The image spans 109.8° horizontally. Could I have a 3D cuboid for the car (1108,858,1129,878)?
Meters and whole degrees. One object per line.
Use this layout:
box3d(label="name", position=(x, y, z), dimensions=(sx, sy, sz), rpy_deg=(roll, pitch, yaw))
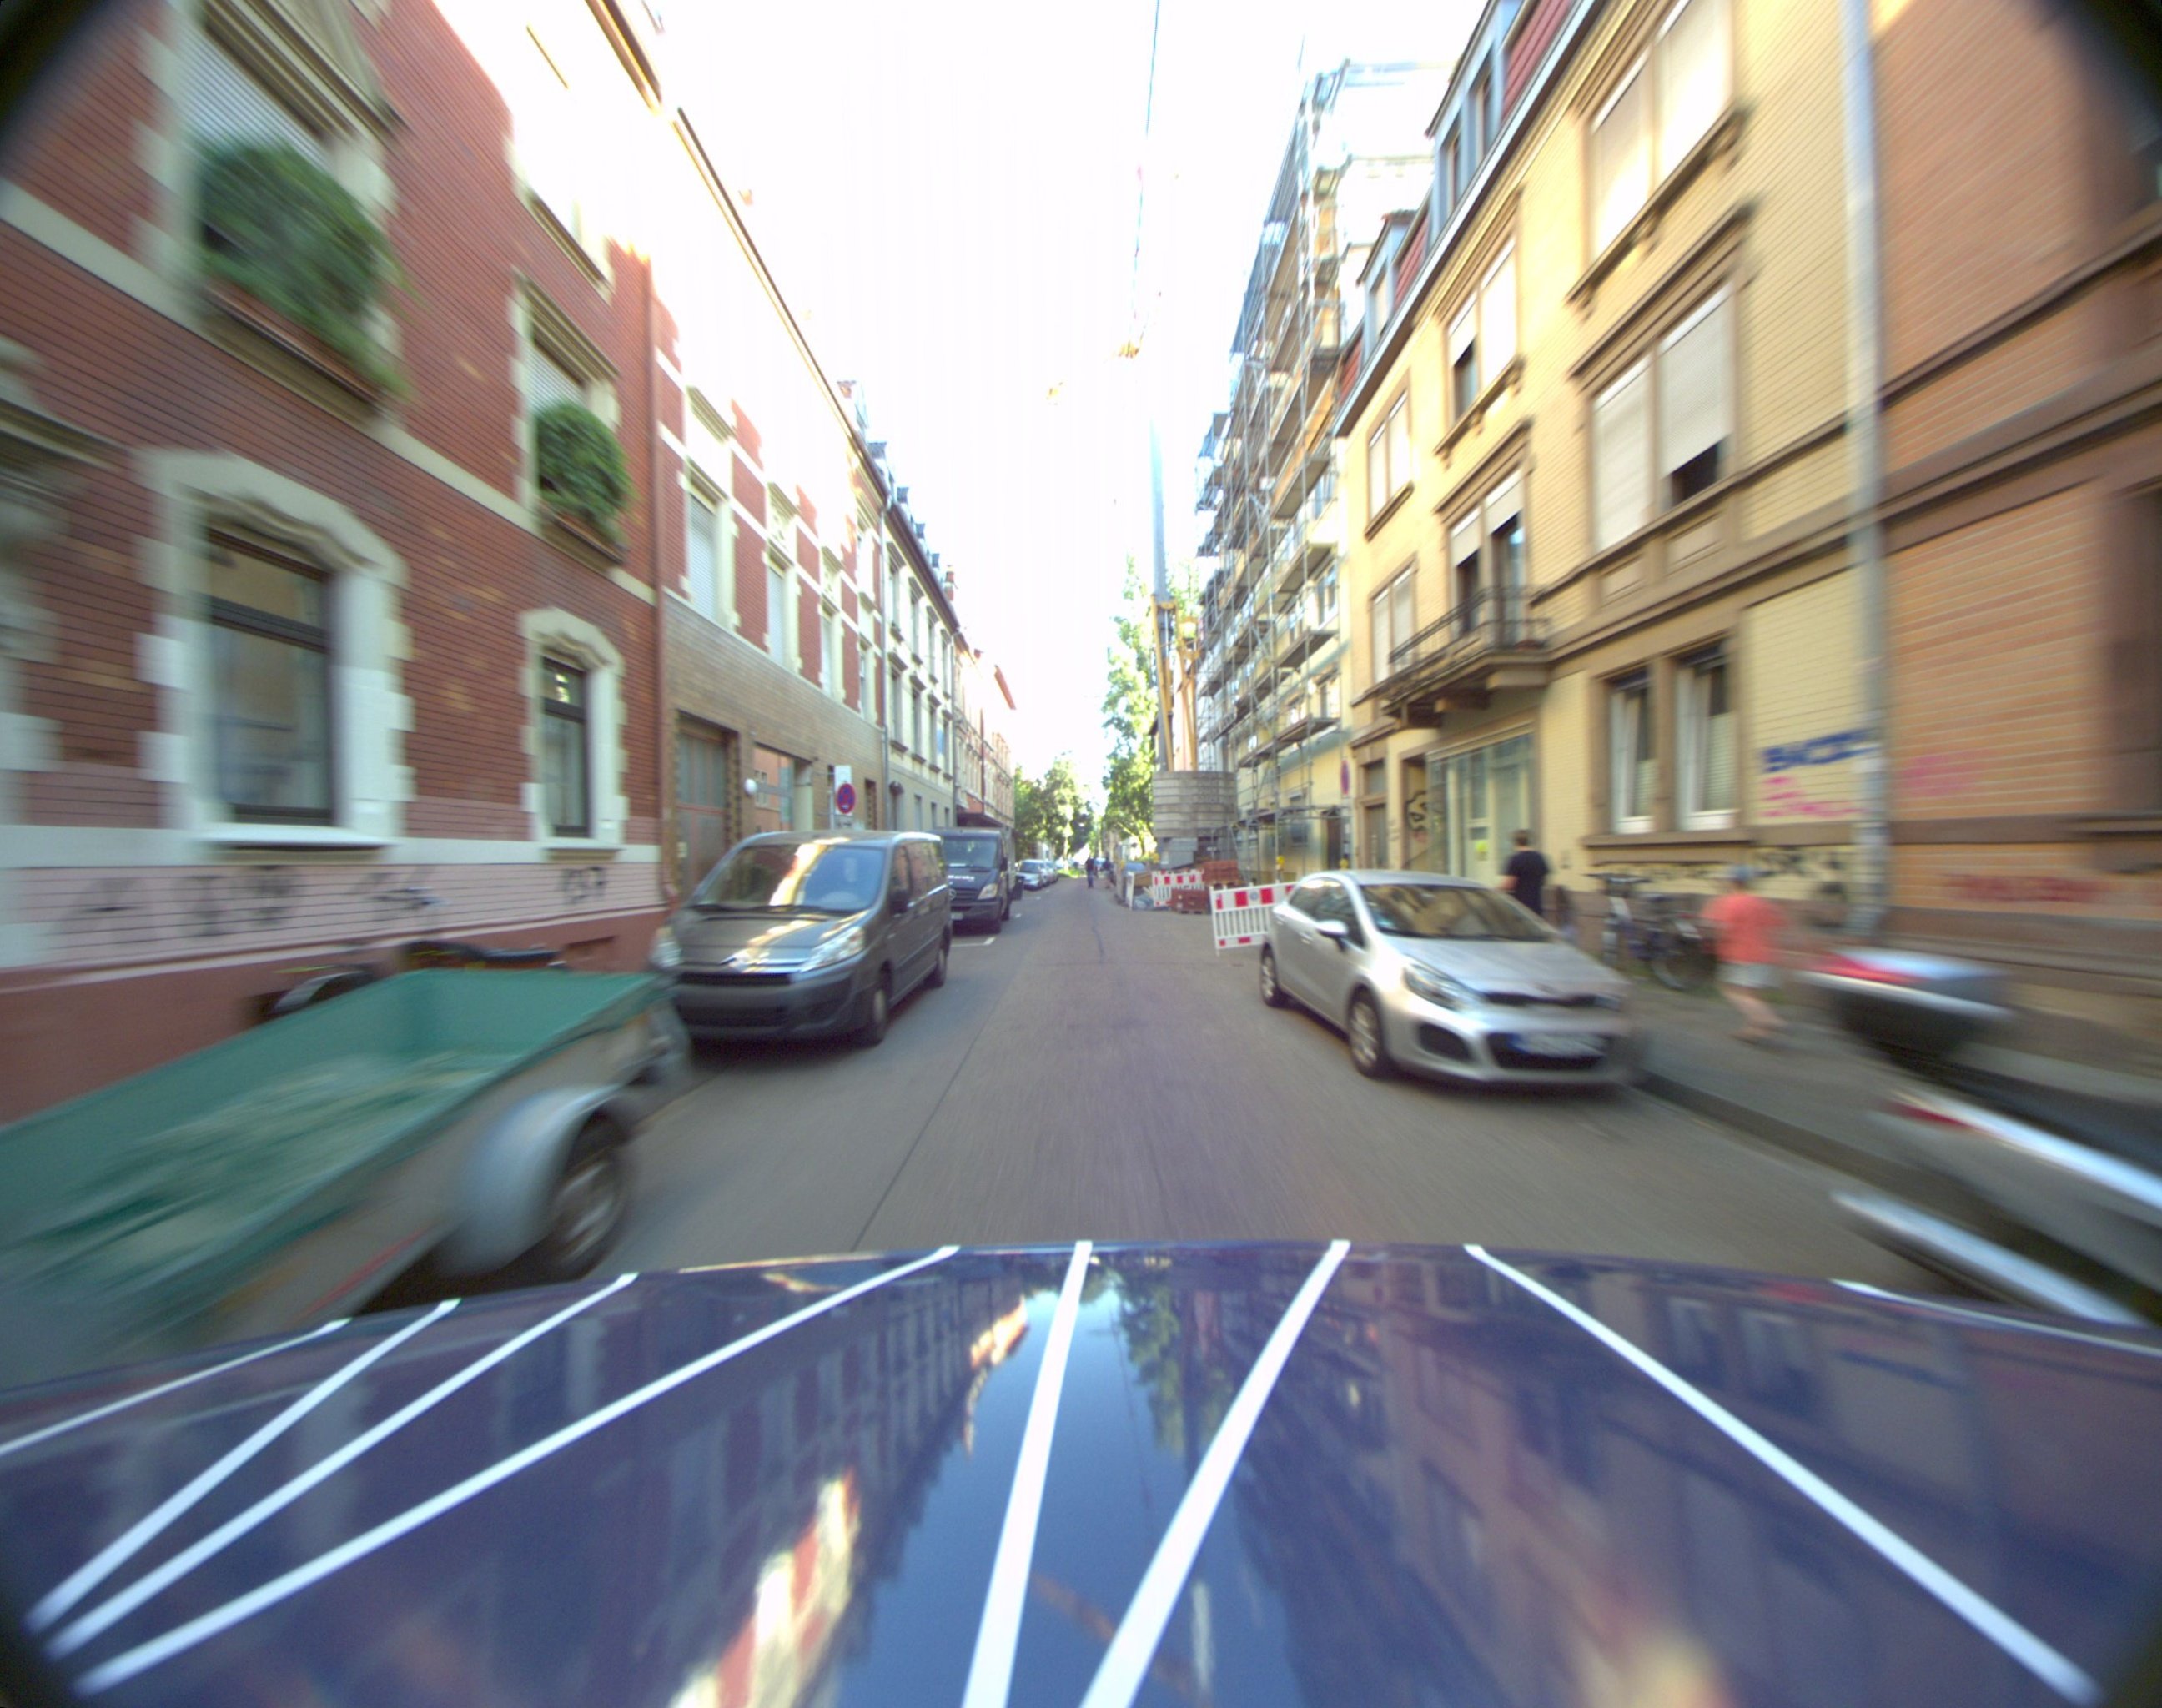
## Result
box3d(label="car", position=(2.927, 1.097, 59.907), dimensions=(1.464, 1.512, 3.660), rpy_deg=(0, 0, 0))

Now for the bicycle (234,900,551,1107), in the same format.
box3d(label="bicycle", position=(-5.240, 1.048, 6.011), dimensions=(0.670, 1.215, 1.992), rpy_deg=(2, 1, 1))

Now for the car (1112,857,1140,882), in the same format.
box3d(label="car", position=(2.957, 1.019, 50.263), dimensions=(1.646, 1.565, 4.249), rpy_deg=(0, 0, 0))

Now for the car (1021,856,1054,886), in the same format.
box3d(label="car", position=(-2.600, 1.004, 46.140), dimensions=(1.603, 1.652, 4.060), rpy_deg=(-4, 0, 0))

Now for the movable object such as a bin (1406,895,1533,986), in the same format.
box3d(label="movable object such as a bin", position=(4.652, 1.002, 9.216), dimensions=(0.764, 0.926, 1.415), rpy_deg=(-1, 0, -3))

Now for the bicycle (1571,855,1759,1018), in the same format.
box3d(label="bicycle", position=(5.828, 0.748, 7.719), dimensions=(0.525, 1.417, 1.712), rpy_deg=(-5, 1, 1))

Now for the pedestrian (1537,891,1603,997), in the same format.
box3d(label="pedestrian", position=(5.307, 0.962, 8.253), dimensions=(0.395, 1.080, 0.431), rpy_deg=(-2, 1, -5))

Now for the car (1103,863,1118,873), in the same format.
box3d(label="car", position=(3.891, 1.872, 100.348), dimensions=(1.760, 1.293, 4.249), rpy_deg=(0, 0, 0))

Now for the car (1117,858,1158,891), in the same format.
box3d(label="car", position=(2.819, 0.996, 38.802), dimensions=(1.771, 1.500, 4.696), rpy_deg=(2, 0, 0))

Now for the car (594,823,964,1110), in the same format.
box3d(label="car", position=(-2.534, 0.819, 7.790), dimensions=(1.849, 1.972, 4.576), rpy_deg=(-3, 0, 0))

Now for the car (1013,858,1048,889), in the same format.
box3d(label="car", position=(-2.733, 1.016, 41.477), dimensions=(1.525, 1.525, 3.463), rpy_deg=(4, 0, 0))

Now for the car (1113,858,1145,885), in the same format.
box3d(label="car", position=(2.832, 0.994, 45.083), dimensions=(1.646, 1.483, 4.000), rpy_deg=(-1, 0, 0))

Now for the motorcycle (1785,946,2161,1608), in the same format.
box3d(label="motorcycle", position=(3.048, 1.012, 1.609), dimensions=(0.846, 1.352, 2.190), rpy_deg=(1, 0, -42))

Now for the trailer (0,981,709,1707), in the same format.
box3d(label="trailer", position=(-2.654, 1.255, 2.319), dimensions=(1.509, 1.106, 3.039), rpy_deg=(-5, 0, -1))

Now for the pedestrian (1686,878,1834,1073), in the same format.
box3d(label="pedestrian", position=(4.855, 0.835, 5.468), dimensions=(0.451, 1.276, 0.647), rpy_deg=(-3, 1, 1))

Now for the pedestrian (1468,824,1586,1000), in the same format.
box3d(label="pedestrian", position=(4.707, 0.584, 8.067), dimensions=(0.687, 1.755, 0.887), rpy_deg=(-1, 0, -3))

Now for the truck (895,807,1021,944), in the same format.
box3d(label="truck", position=(-2.725, 0.446, 18.414), dimensions=(2.154, 2.642, 6.252), rpy_deg=(3, 0, -2))

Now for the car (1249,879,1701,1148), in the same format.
box3d(label="car", position=(2.704, 0.985, 6.364), dimensions=(1.678, 1.410, 4.000), rpy_deg=(0, 0, -1))

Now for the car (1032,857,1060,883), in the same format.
box3d(label="car", position=(-2.369, 1.052, 51.781), dimensions=(1.603, 1.626, 3.774), rpy_deg=(-4, 0, 0))

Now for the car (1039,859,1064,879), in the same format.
box3d(label="car", position=(-2.208, 1.122, 58.091), dimensions=(1.646, 1.442, 4.166), rpy_deg=(-3, 0, 0))

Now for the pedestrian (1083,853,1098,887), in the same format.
box3d(label="pedestrian", position=(0.498, 0.846, 39.979), dimensions=(0.740, 1.743, 0.997), rpy_deg=(-1, 0, 1))

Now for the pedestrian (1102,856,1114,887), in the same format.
box3d(label="pedestrian", position=(1.433, 0.908, 40.318), dimensions=(0.594, 1.634, 0.813), rpy_deg=(1, 0, 0))

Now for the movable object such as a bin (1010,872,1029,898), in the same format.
box3d(label="movable object such as a bin", position=(-2.519, 1.269, 31.200), dimensions=(0.742, 1.051, 0.687), rpy_deg=(0, 0, 0))
